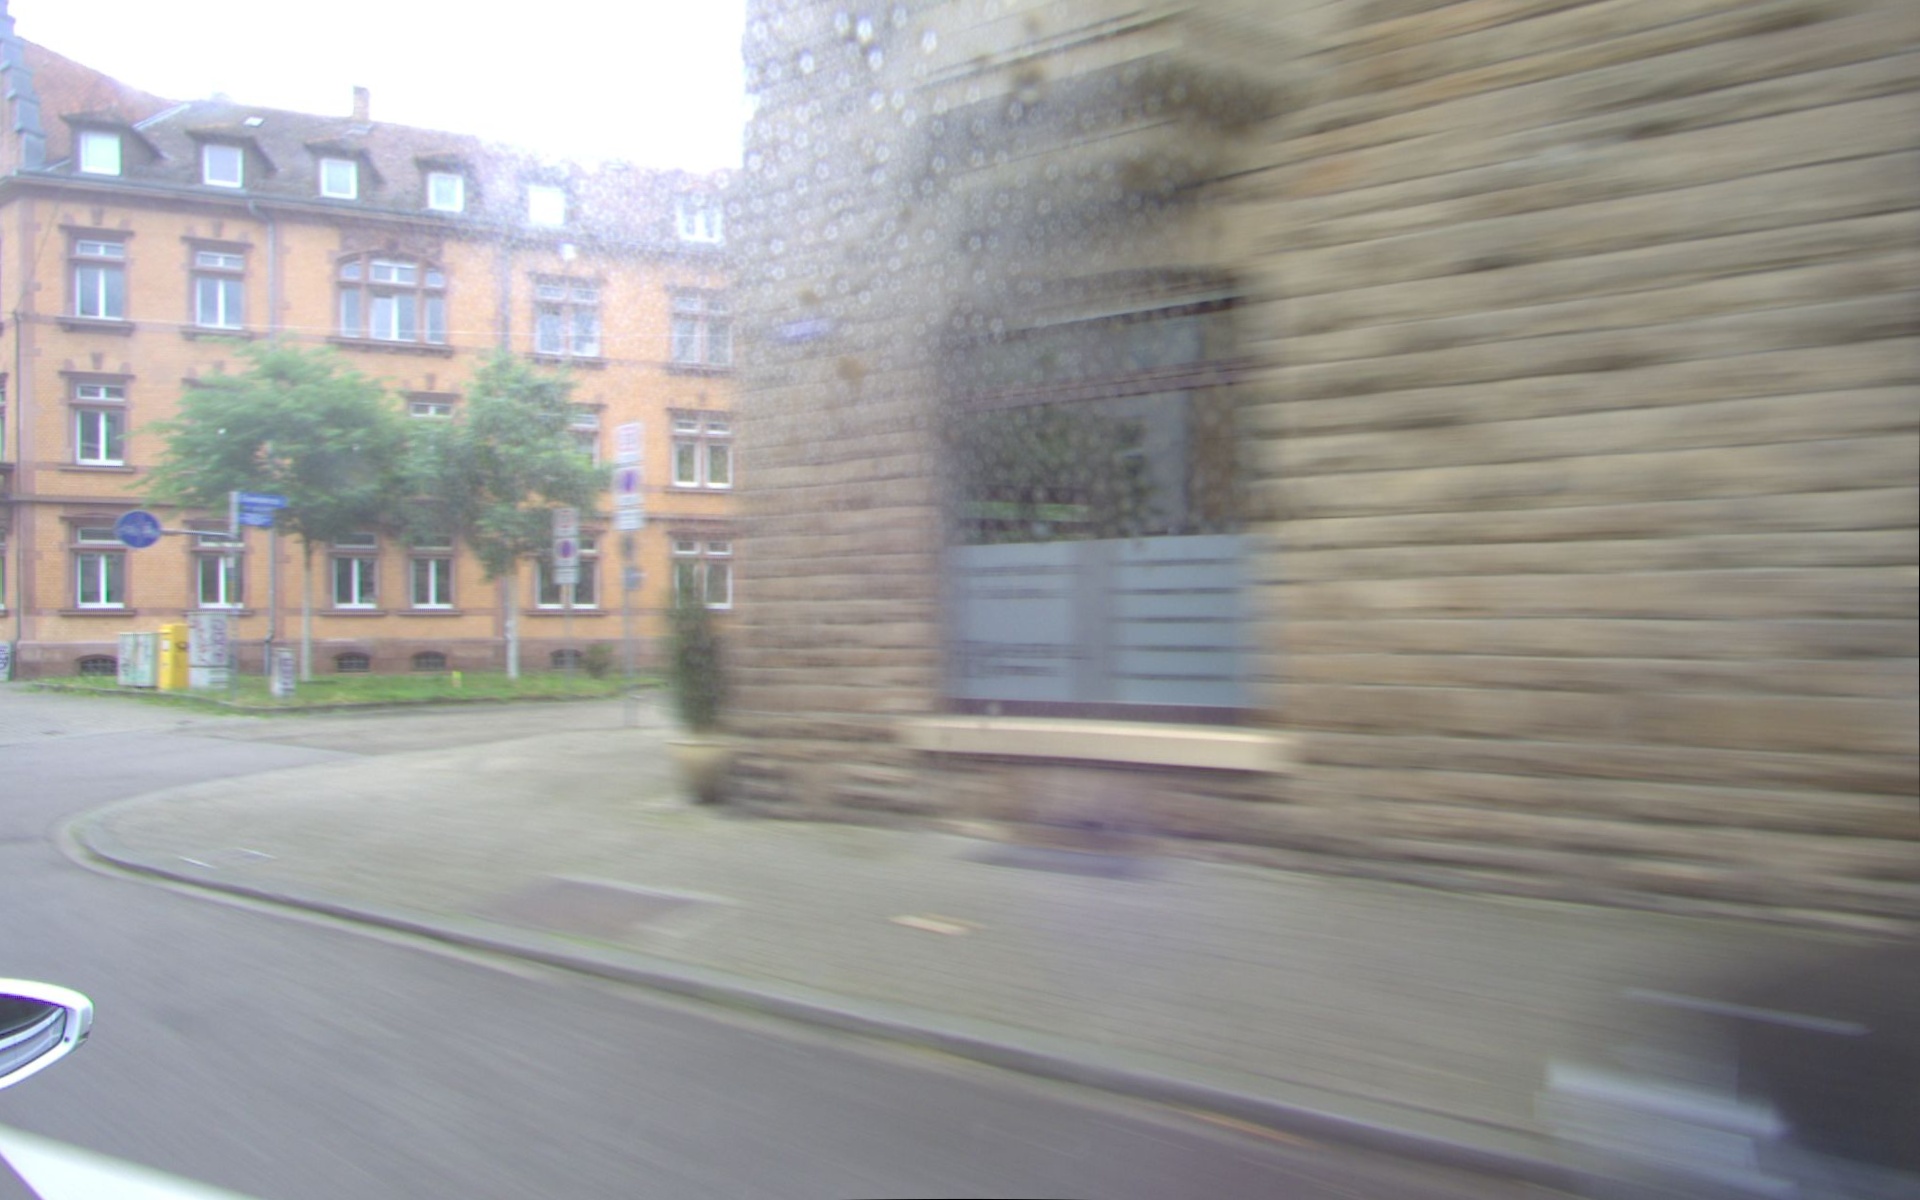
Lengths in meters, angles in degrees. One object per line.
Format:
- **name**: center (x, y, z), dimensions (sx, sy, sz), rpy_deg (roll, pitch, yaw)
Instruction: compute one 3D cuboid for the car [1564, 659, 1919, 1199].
- **car**: center (3.355, 0.816, 0.689), dimensions (4.930, 1.468, 1.823), rpy_deg (-1, -2, 29)
